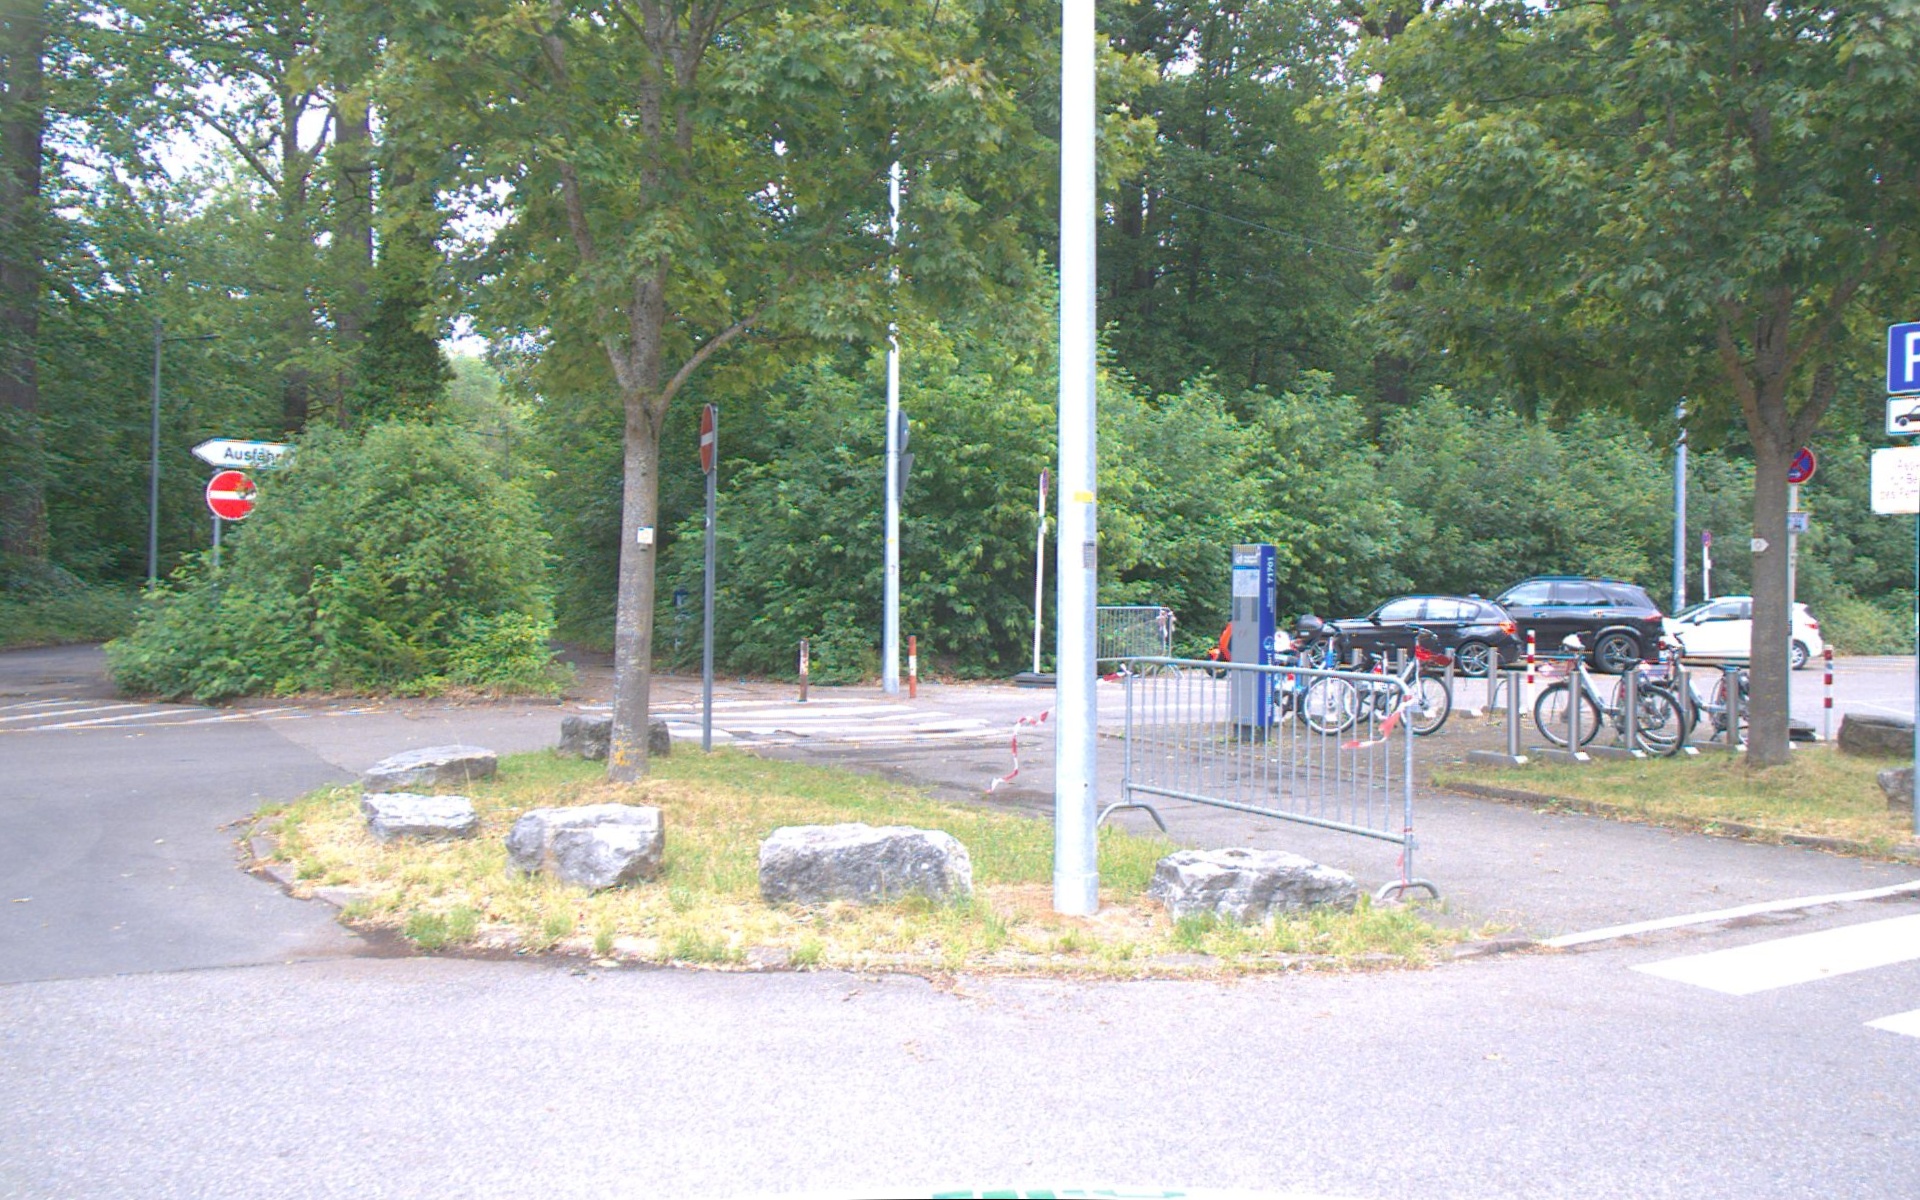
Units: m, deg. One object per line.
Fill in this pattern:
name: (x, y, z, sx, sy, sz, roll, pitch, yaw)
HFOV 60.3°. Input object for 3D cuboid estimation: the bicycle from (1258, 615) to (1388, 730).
bicycle: (3.885, 0.751, 17.805, 0.474, 1.131, 1.686, 1, 1, -22)

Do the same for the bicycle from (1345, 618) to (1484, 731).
bicycle: (4.967, 0.791, 18.174, 0.498, 1.131, 1.672, 1, 1, -25)

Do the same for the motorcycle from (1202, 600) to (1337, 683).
motorcycle: (4.953, 0.647, 26.488, 1.983, 1.229, 0.730, 2, 0, 25)

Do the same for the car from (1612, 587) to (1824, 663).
car: (16.405, 0.520, 35.972, 3.902, 1.537, 1.871, 1, 1, 15)

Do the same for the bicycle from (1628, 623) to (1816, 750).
bicycle: (7.550, 0.830, 16.463, 0.475, 1.131, 1.773, 1, 1, -27)

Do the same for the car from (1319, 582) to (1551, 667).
car: (8.575, 0.415, 30.055, 3.902, 1.400, 1.741, 1, 1, 15)

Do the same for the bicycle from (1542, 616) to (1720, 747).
bicycle: (6.395, 0.749, 15.847, 0.475, 1.131, 1.670, 1, 1, -27)

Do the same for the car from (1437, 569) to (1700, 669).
car: (11.726, 0.335, 32.224, 4.593, 1.798, 2.114, 1, 1, 15)
